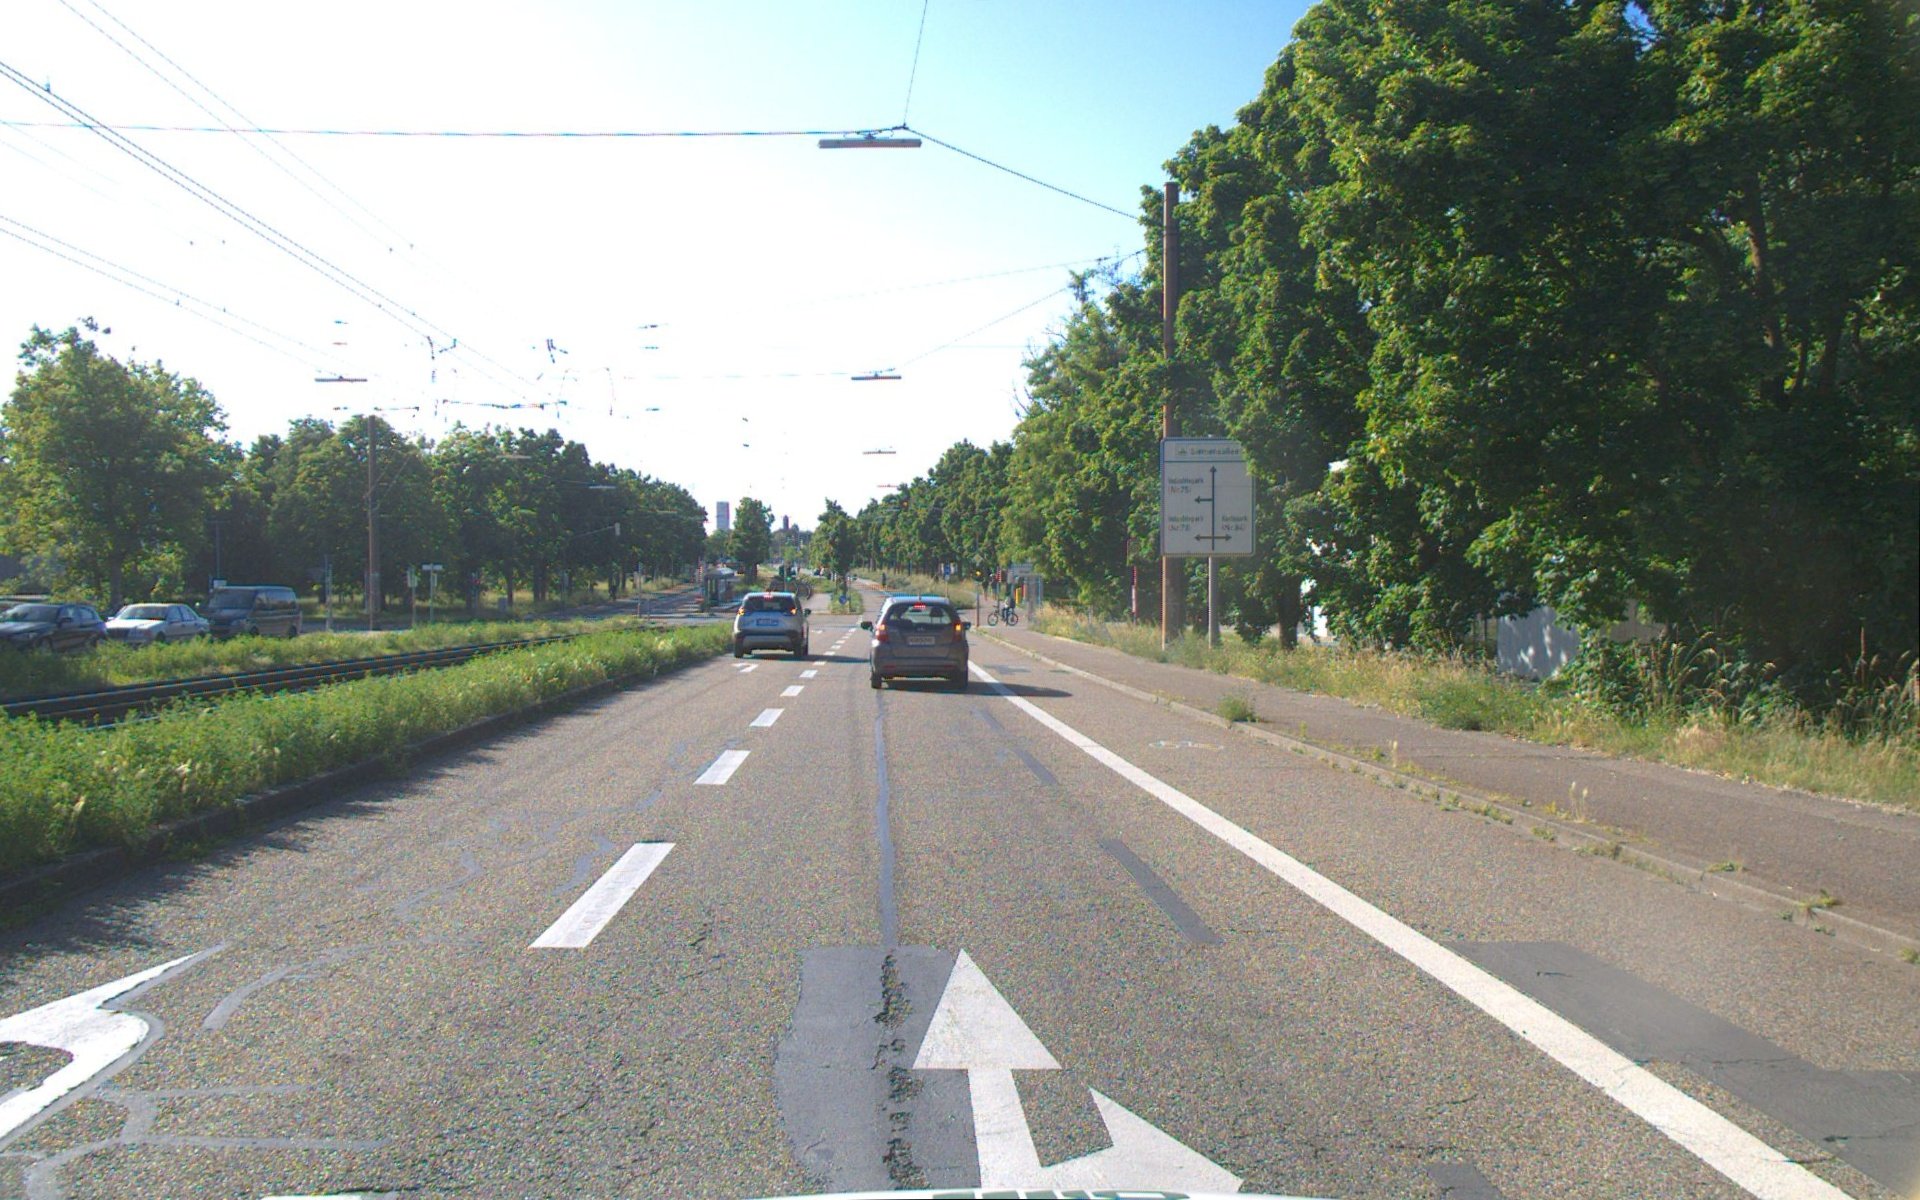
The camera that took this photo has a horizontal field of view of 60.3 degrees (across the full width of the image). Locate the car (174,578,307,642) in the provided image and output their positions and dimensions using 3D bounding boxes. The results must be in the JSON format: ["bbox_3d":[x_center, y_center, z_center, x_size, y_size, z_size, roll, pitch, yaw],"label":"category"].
[{"bbox_3d":[-22.684,0.279,52.358,2.152,1.924,4.790,0,0,-1],"label":"car"}]

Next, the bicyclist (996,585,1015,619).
[{"bbox_3d":[2.430,0.092,87.948,0.890,1.775,0.765,-1,0,8],"label":"bicyclist"}]

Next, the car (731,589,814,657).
[{"bbox_3d":[-4.720,0.549,42.081,1.814,1.634,4.252,0,0,-3],"label":"car"}]

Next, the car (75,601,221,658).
[{"bbox_3d":[-22.481,0.782,45.994,1.889,1.462,4.692,0,1,-2],"label":"car"}]

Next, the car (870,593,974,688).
[{"bbox_3d":[-0.673,0.655,29.001,1.672,1.535,3.999,1,0,-2],"label":"car"}]

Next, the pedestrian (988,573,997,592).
[{"bbox_3d":[2.743,-1.495,141.396,0.665,1.638,0.720,1,0,-5],"label":"pedestrian"}]

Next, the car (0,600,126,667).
[{"bbox_3d":[-22.034,0.764,39.693,1.953,1.462,4.413,0,1,-2],"label":"car"}]

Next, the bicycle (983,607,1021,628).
[{"bbox_3d":[2.249,0.918,87.974,1.879,1.015,0.765,-2,0,8],"label":"bicycle"}]

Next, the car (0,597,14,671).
[{"bbox_3d":[-21.751,0.761,34.311,1.954,1.602,4.431,0,1,-4],"label":"car"}]
